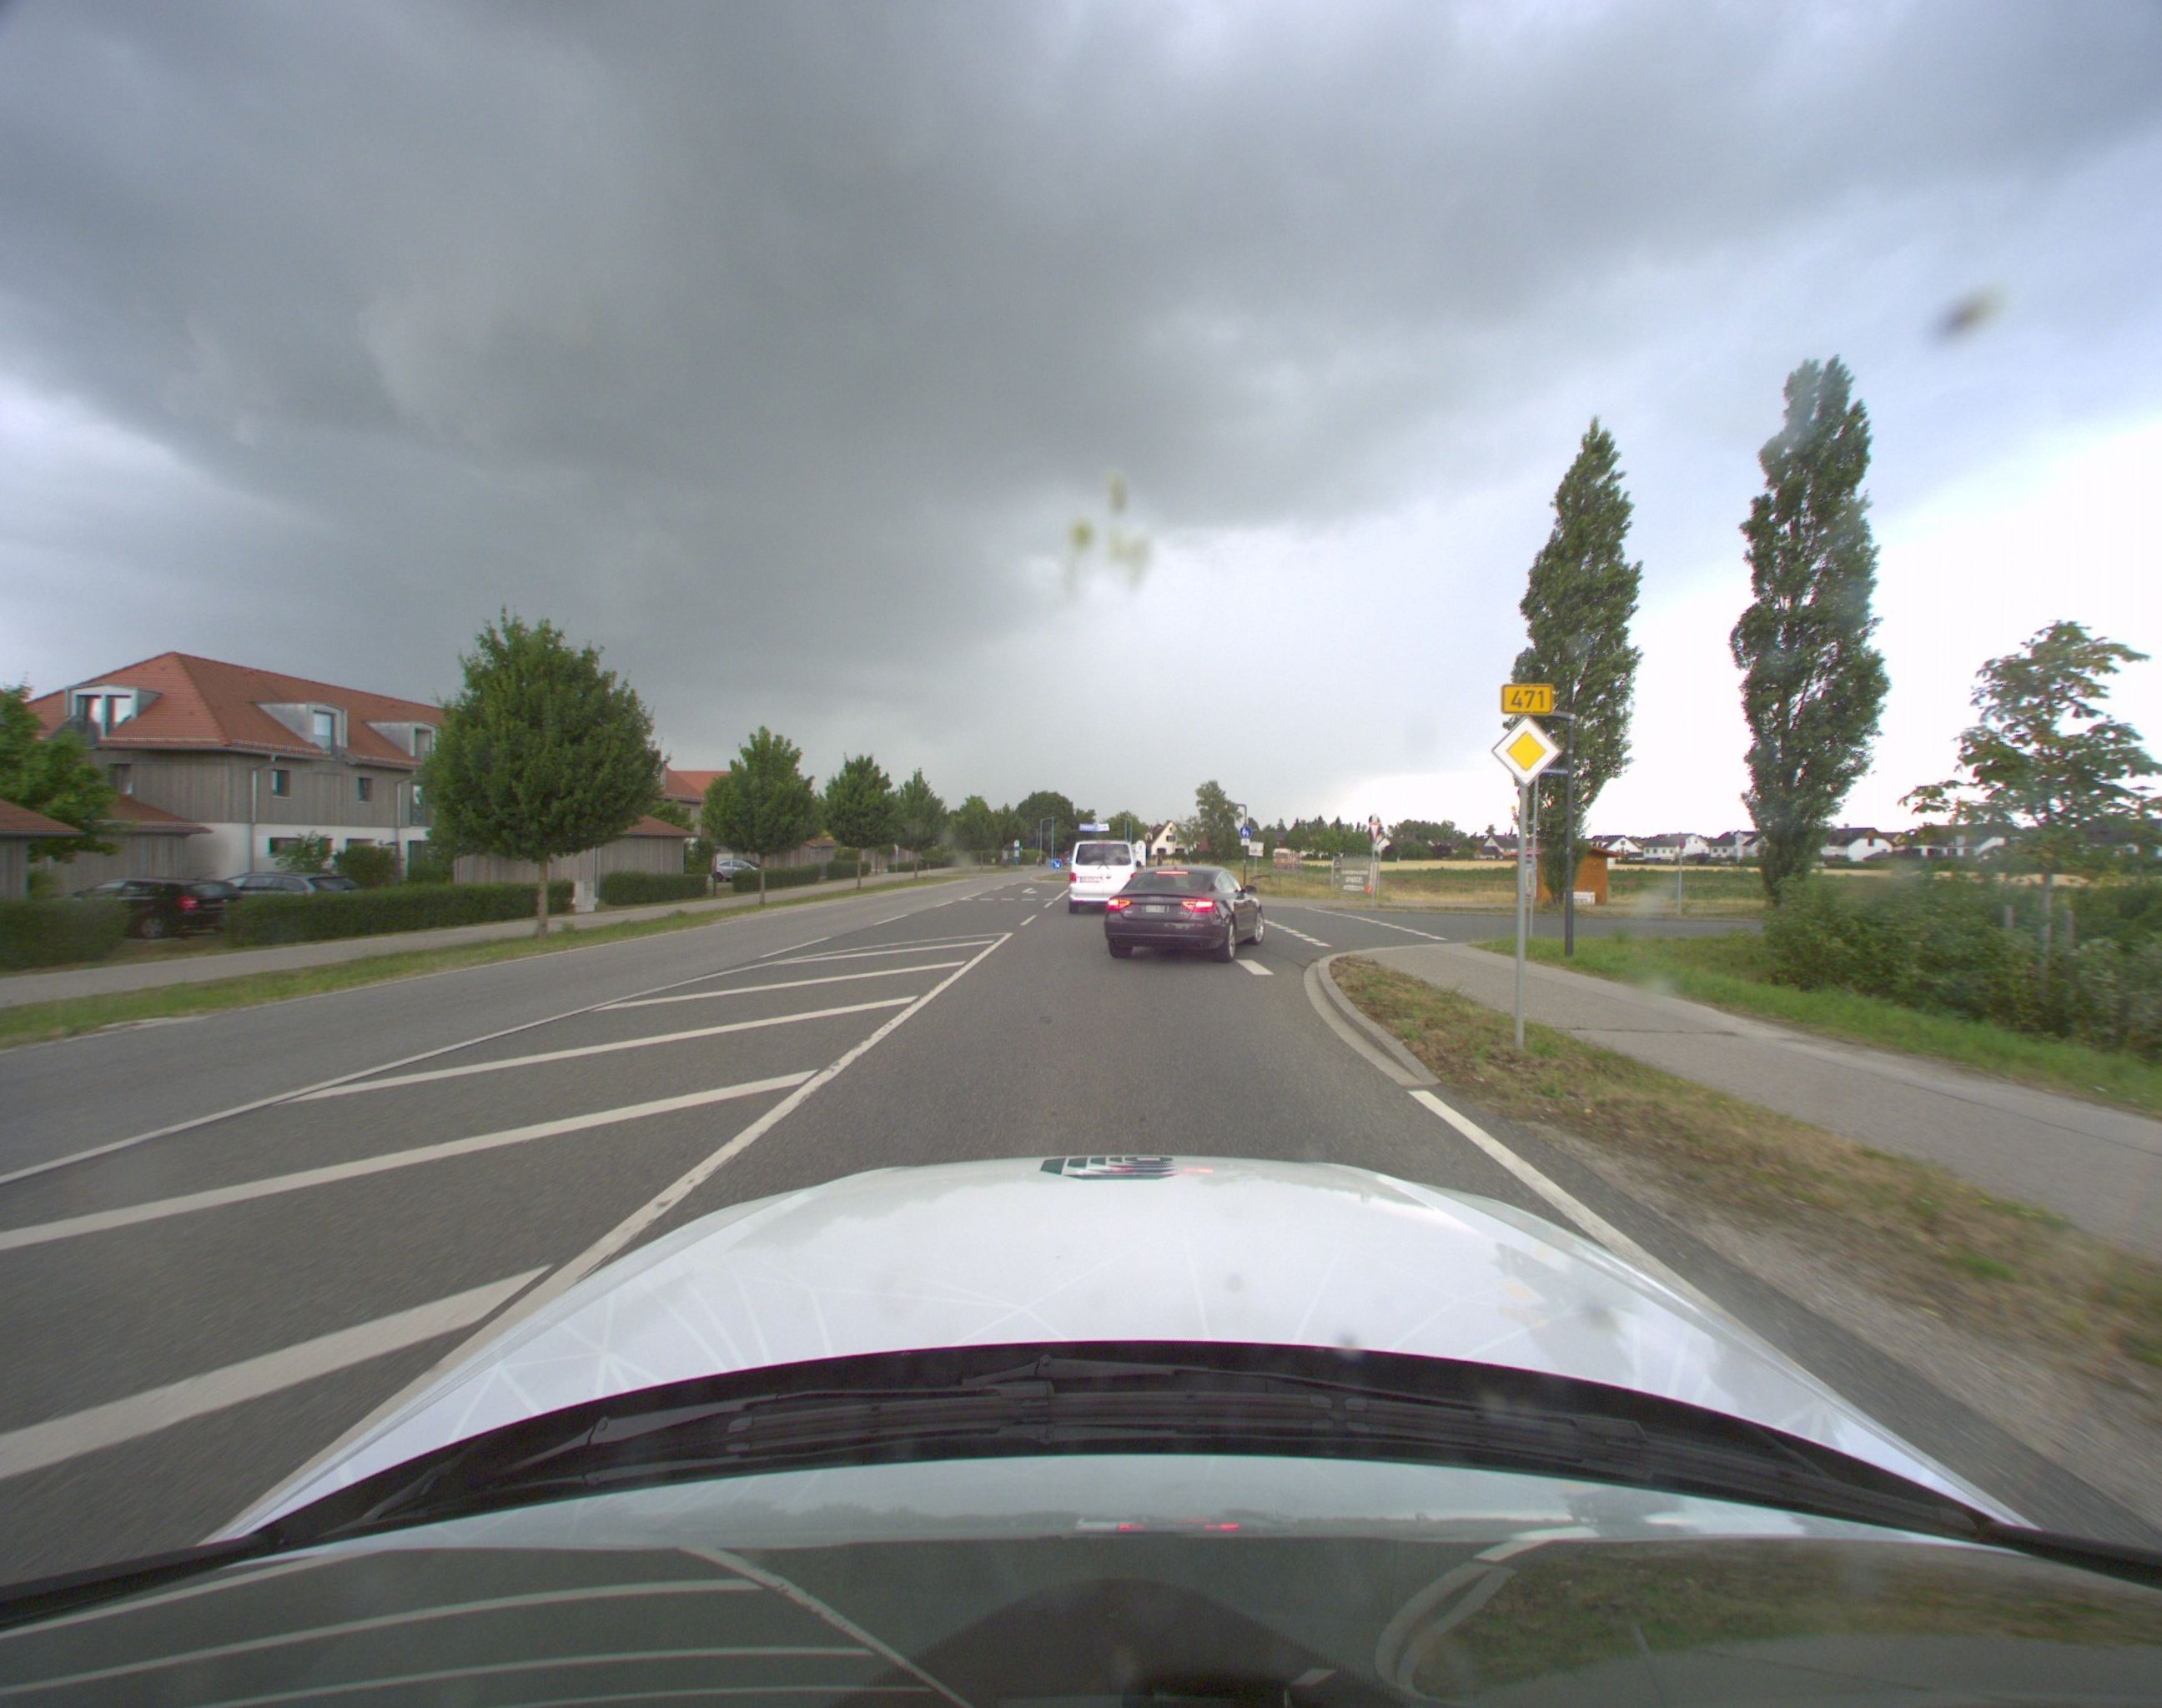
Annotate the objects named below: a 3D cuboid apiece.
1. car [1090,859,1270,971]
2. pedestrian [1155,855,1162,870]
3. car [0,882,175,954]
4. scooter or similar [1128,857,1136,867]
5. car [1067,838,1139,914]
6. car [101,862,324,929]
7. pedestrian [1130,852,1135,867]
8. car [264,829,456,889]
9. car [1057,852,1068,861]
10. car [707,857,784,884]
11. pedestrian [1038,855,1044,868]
[{"bbox_3d":[1.781,0.835,13.117,1.810,1.388,4.410,-1,0,21],"label":"car"},{"bbox_3d":[7.789,0.863,81.442,0.621,1.525,0.680,-1,0,1],"label":"pedestrian"},{"bbox_3d":[-23.396,1.448,18.671,3.501,1.489,1.564,-1,0,1],"label":"car"},{"bbox_3d":[5.946,0.955,94.477,0.845,1.103,1.095,-1,0,2],"label":"scooter or similar"},{"bbox_3d":[0.585,0.553,22.986,1.819,1.913,4.000,1,0,0],"label":"car"},{"bbox_3d":[-23.424,1.086,22.073,3.970,1.618,2.002,-1,0,3],"label":"car"},{"bbox_3d":[5.886,0.629,93.575,0.483,1.732,0.642,-1,0,1],"label":"pedestrian"},{"bbox_3d":[-21.423,0.140,24.308,3.970,1.618,2.002,-1,0,3],"label":"car"},{"bbox_3d":[-3.072,0.460,135.897,1.647,1.429,3.603,-1,0,2],"label":"car"},{"bbox_3d":[-21.321,1.055,51.803,3.970,1.556,2.002,2,0,3],"label":"car"},{"bbox_3d":[-4.991,0.937,102.349,0.621,1.525,0.680,-1,0,1],"label":"pedestrian"}]
